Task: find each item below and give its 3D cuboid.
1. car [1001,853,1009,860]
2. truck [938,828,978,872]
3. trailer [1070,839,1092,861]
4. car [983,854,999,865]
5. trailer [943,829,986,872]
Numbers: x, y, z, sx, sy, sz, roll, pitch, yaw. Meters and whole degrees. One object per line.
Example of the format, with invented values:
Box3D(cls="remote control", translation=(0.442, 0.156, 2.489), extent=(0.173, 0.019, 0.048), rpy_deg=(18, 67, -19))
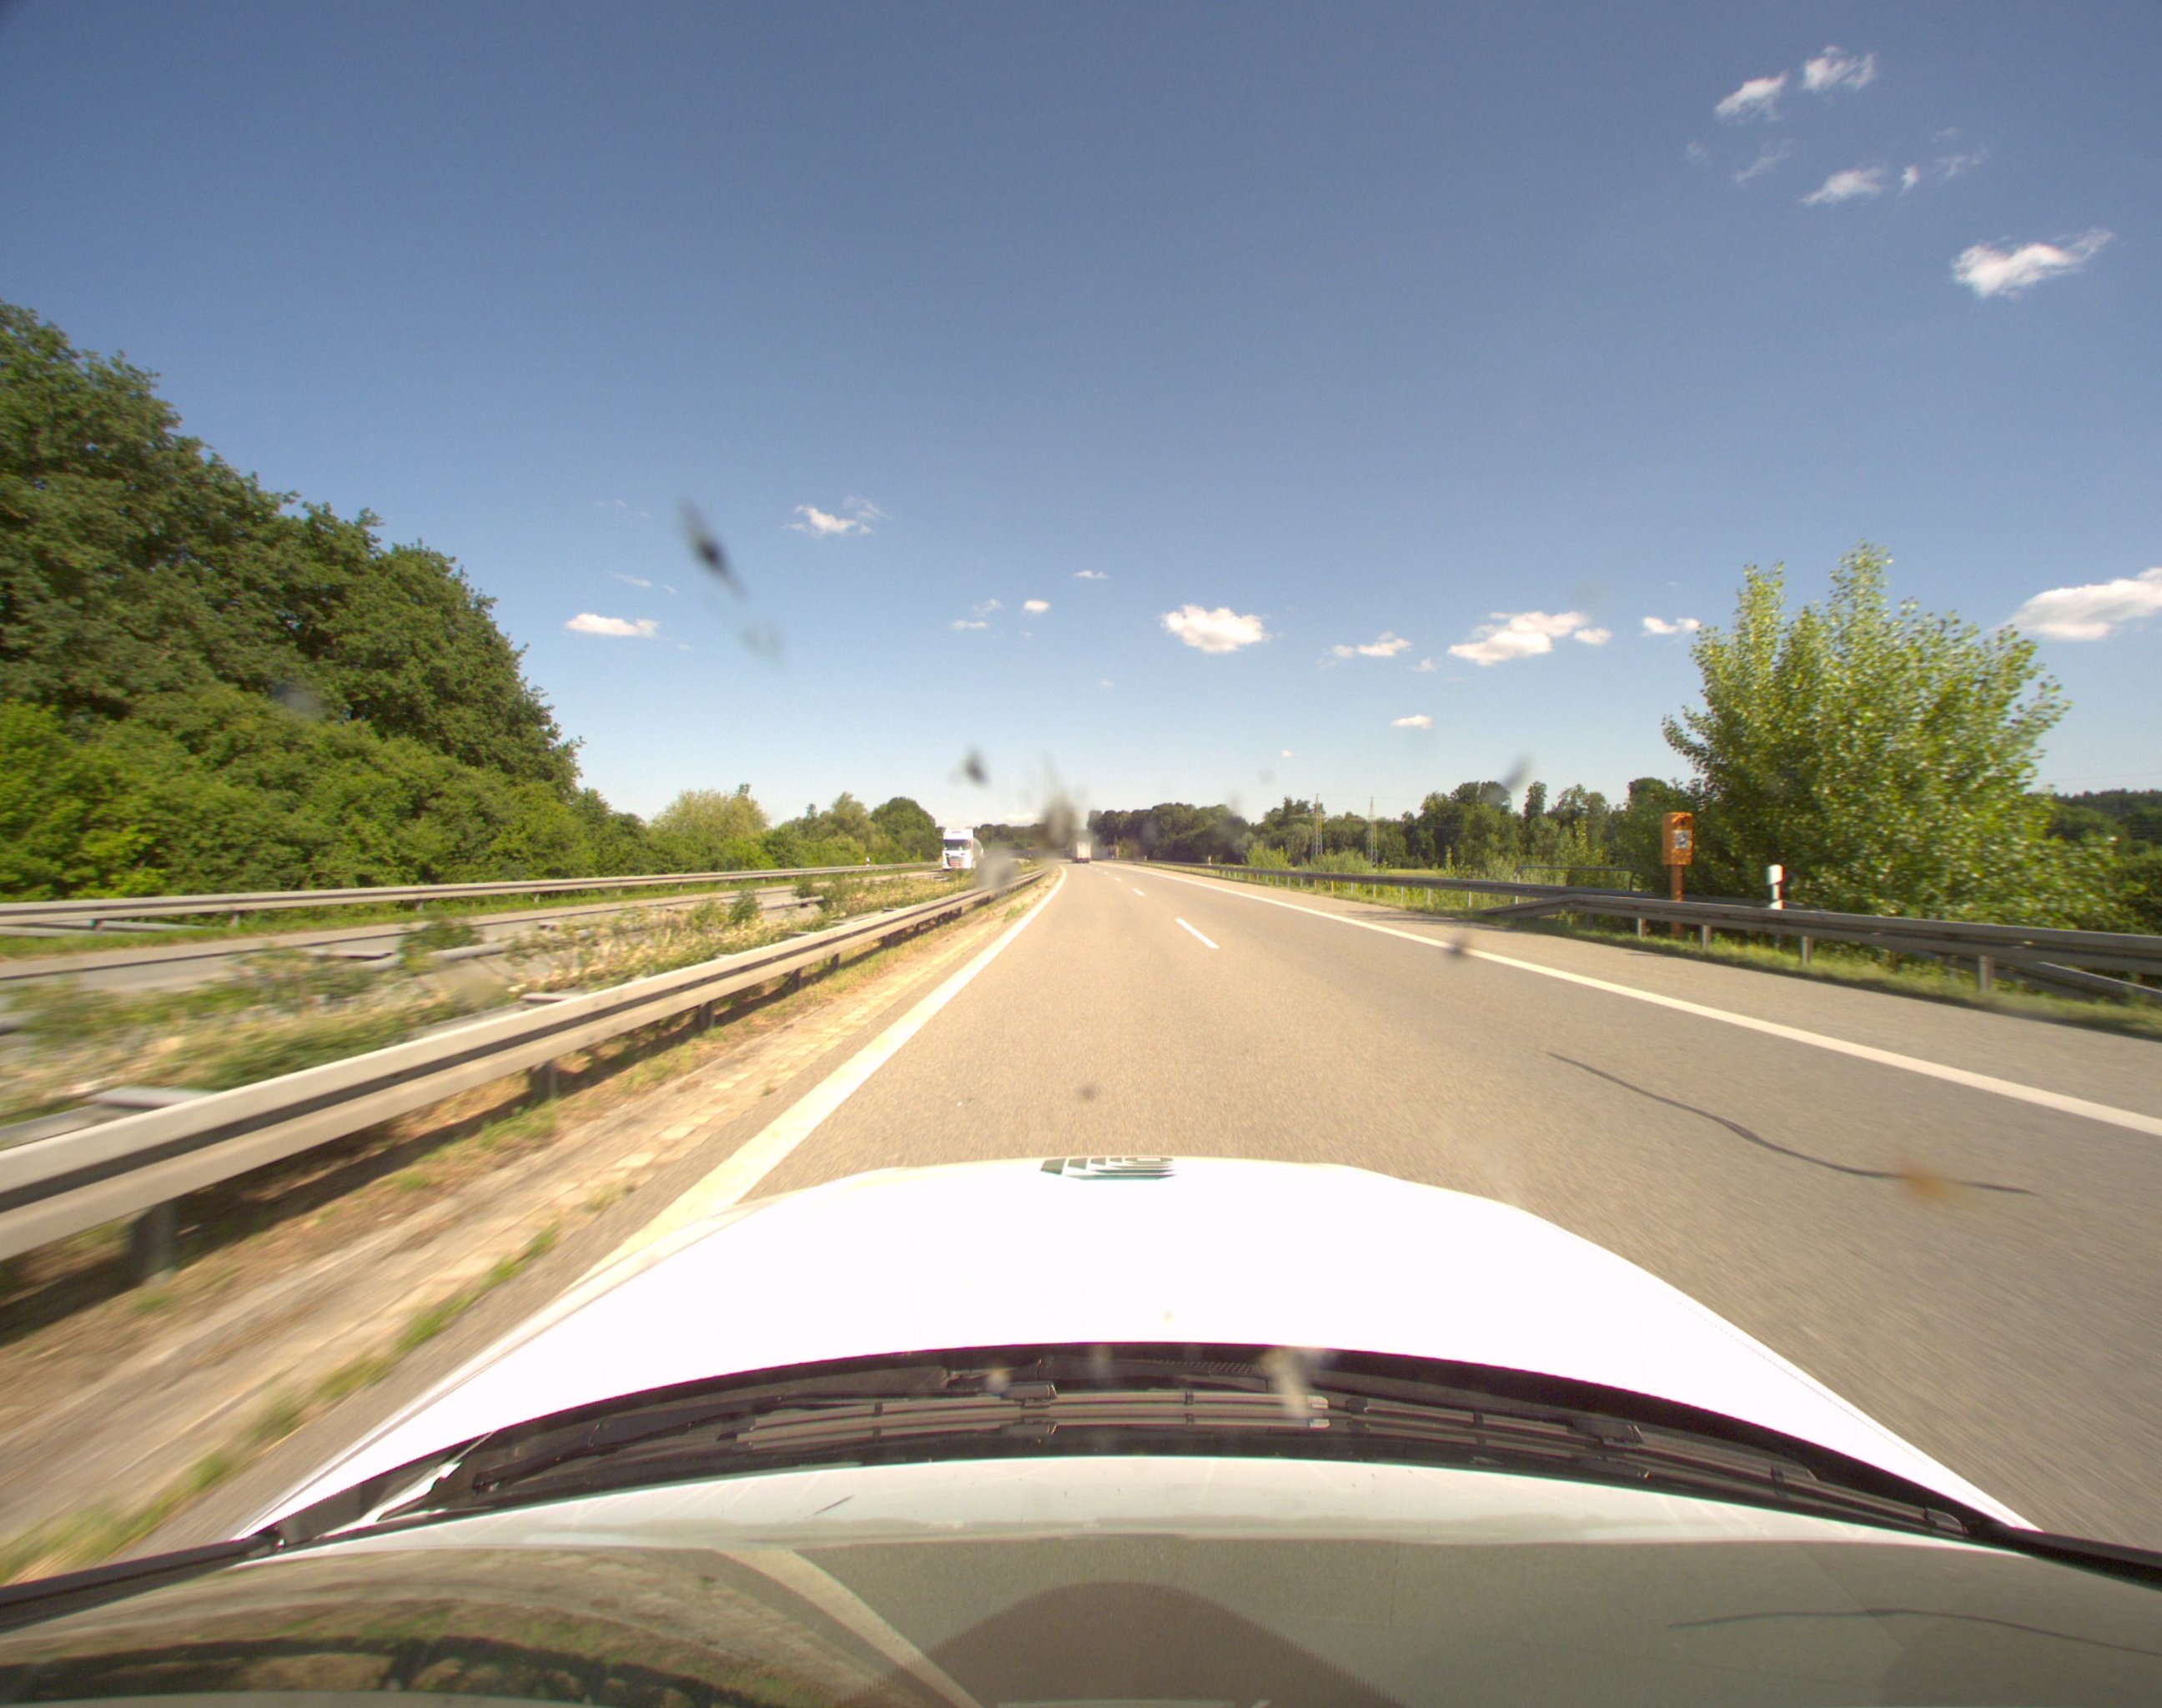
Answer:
Box3D(cls="car", translation=(-19.932, 0.612, 213.281), extent=(1.992, 1.679, 5.304), rpy_deg=(-2, 0, -7))
Box3D(cls="truck", translation=(-10.972, -0.360, 73.257), extent=(2.733, 3.727, 5.968), rpy_deg=(-1, 0, -1))
Box3D(cls="trailer", translation=(-0.046, -0.712, 156.006), extent=(2.880, 4.066, 12.395), rpy_deg=(-1, 0, -6))
Box3D(cls="car", translation=(-13.408, 0.850, 122.046), extent=(1.989, 1.554, 4.416), rpy_deg=(-2, 0, -2))
Box3D(cls="trailer", translation=(-11.084, -0.304, 78.539), extent=(2.733, 3.727, 10.907), rpy_deg=(-1, 0, -1))
